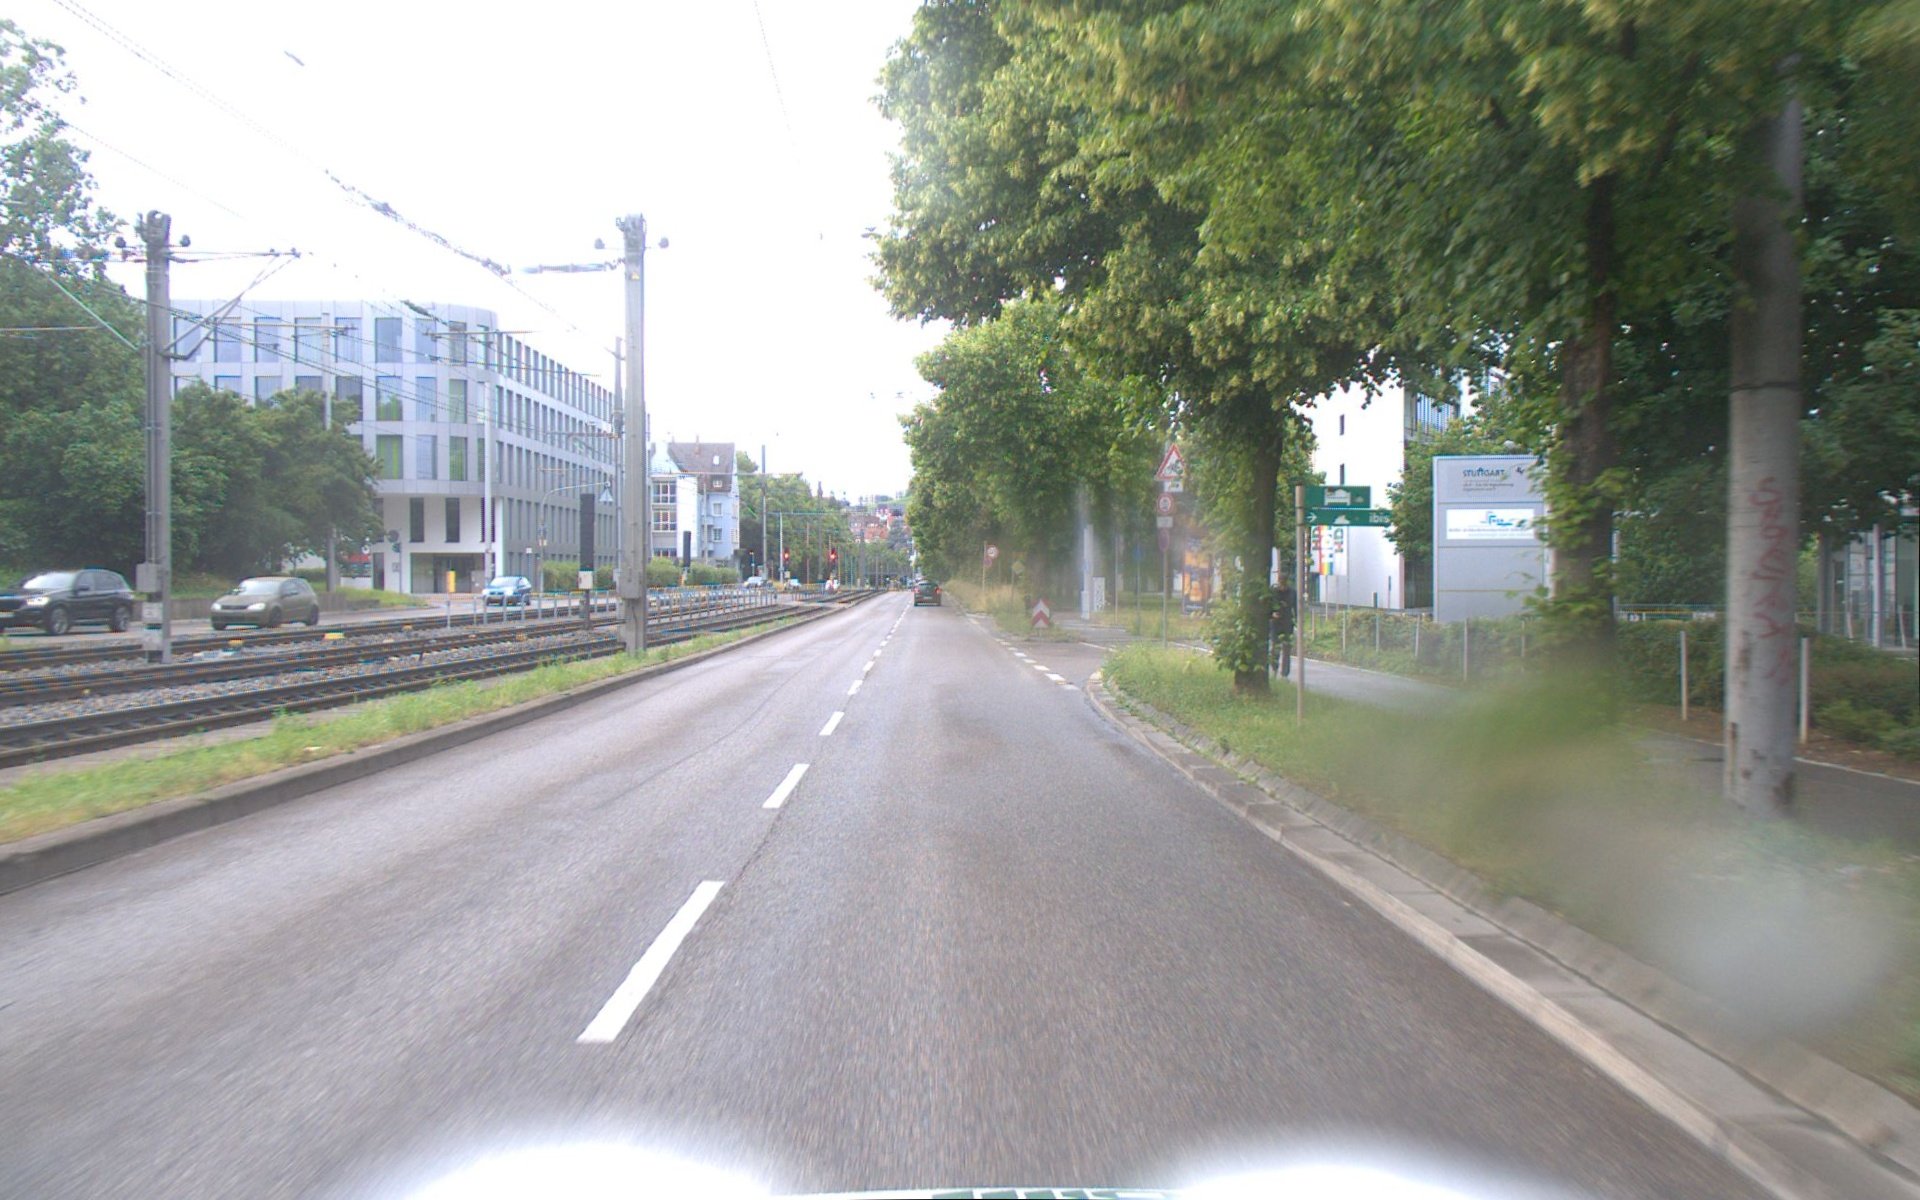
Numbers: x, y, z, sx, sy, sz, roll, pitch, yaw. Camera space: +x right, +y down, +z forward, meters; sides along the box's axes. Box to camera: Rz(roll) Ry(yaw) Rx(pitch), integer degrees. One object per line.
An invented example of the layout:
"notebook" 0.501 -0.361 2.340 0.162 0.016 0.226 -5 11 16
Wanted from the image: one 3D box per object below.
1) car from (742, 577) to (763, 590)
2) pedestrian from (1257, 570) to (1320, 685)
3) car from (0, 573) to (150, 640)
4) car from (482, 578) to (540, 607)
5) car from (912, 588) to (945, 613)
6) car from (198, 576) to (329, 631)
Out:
"car" -21.815 -1.740 174.034 1.720 1.265 3.987 0 1 -1
"pedestrian" 5.376 0.442 27.111 0.809 1.828 0.867 1 0 -1
"car" -23.044 0.128 42.666 1.908 1.623 4.847 0 1 0
"car" -22.245 -0.374 82.064 1.724 1.422 3.901 0 1 2
"car" -1.916 0.003 100.597 1.942 1.466 4.473 0 1 -1
"car" -19.965 0.080 47.642 1.852 1.512 4.309 0 1 2
